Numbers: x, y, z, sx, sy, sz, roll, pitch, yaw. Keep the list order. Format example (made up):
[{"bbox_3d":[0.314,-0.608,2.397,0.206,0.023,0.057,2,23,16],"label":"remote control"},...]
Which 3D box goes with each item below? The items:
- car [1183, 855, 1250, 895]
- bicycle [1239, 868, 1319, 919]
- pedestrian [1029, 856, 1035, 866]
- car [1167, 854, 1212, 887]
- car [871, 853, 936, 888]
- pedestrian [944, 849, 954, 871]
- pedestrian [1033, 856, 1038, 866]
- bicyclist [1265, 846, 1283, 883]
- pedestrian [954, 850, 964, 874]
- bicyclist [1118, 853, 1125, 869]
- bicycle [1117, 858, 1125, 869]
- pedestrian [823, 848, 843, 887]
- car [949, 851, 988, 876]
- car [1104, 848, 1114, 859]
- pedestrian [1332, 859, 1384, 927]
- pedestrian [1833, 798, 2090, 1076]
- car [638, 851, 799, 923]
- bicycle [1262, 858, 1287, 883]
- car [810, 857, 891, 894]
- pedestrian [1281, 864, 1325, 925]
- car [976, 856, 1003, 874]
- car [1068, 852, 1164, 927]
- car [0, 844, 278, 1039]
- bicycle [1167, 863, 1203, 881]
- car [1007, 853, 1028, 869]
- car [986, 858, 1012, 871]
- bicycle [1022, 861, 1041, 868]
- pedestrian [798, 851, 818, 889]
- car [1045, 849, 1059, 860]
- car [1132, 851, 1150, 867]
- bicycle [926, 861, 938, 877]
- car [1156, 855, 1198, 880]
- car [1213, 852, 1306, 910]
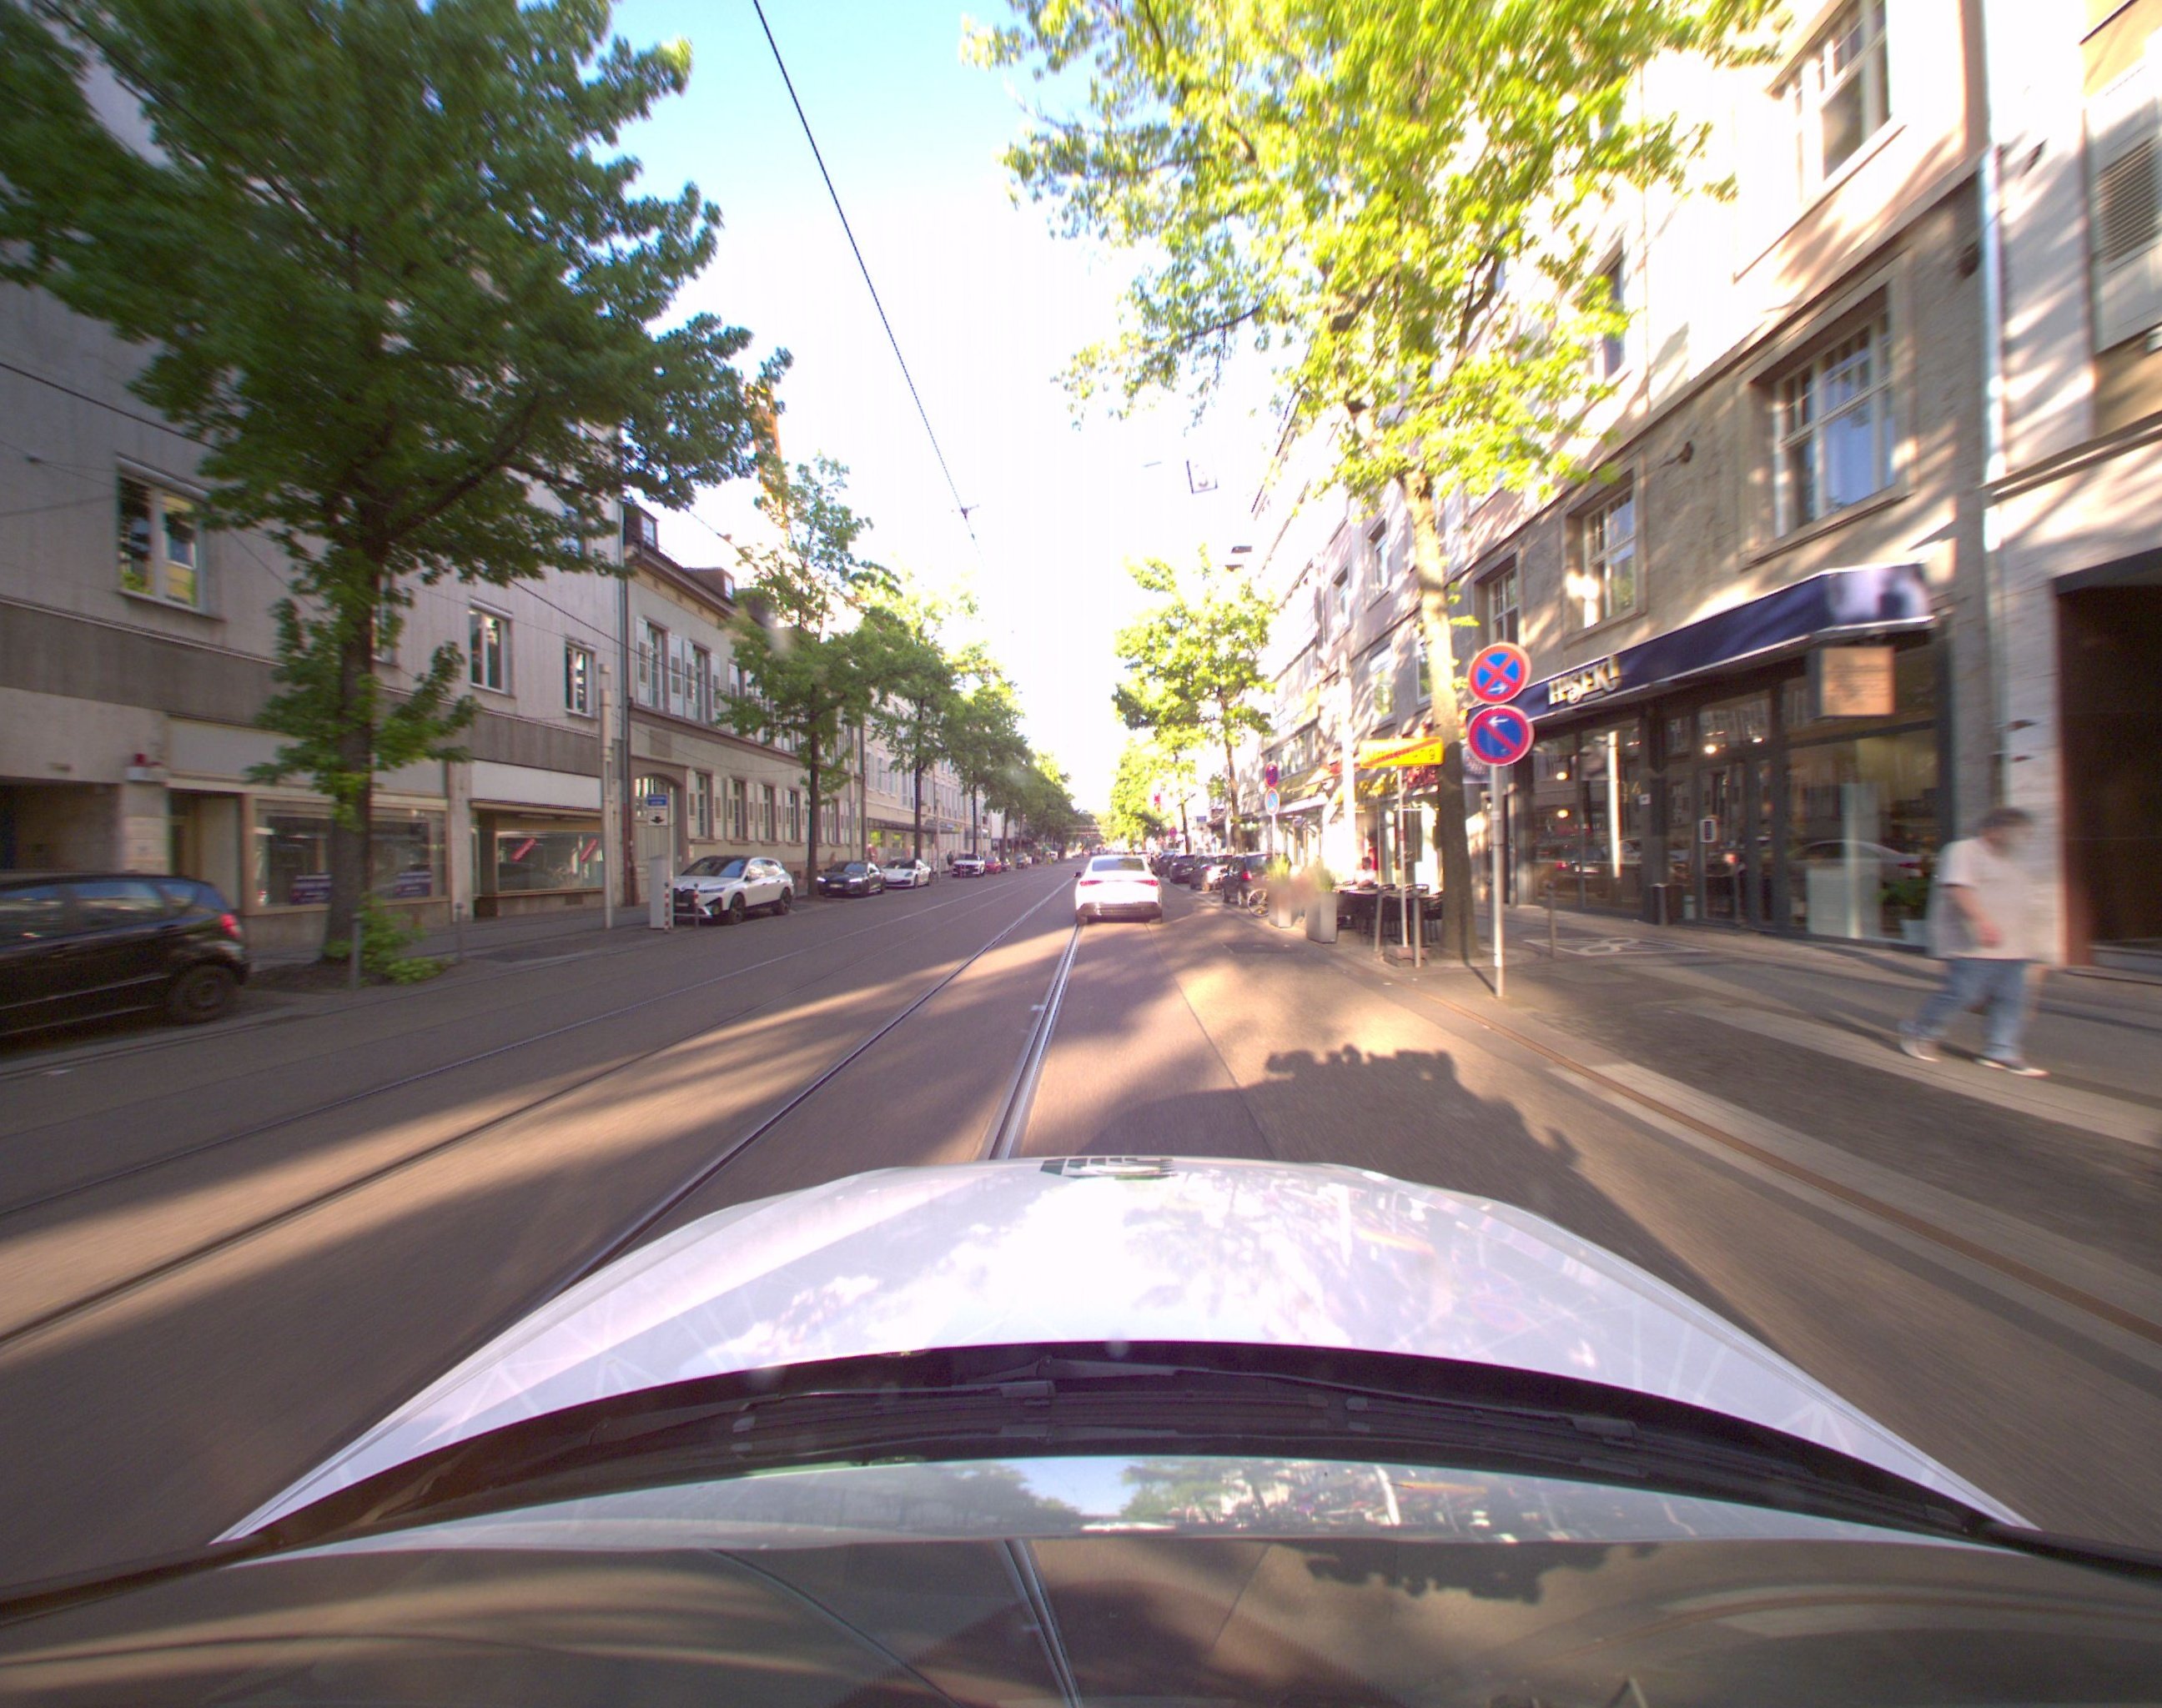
[{"bbox_3d":[5.318,0.805,32.421,1.810,1.486,3.995,0,0,-4],"label":"car"},{"bbox_3d":[4.652,0.930,19.151,1.711,1.139,0.549,-3,-1,22],"label":"bicycle"},{"bbox_3d":[-7.290,1.108,120.875,0.564,1.464,0.653,-1,0,21],"label":"pedestrian"},{"bbox_3d":[5.299,0.779,40.188,1.863,1.453,4.110,-3,0,3],"label":"car"},{"bbox_3d":[-8.885,0.792,41.136,1.938,1.640,4.913,0,0,3],"label":"car"},{"bbox_3d":[-11.006,0.487,68.005,0.706,1.806,0.674,-1,0,-4],"label":"pedestrian"},{"bbox_3d":[-6.810,1.110,122.225,0.519,1.478,0.644,-3,-1,-26],"label":"pedestrian"},{"bbox_3d":[8.870,0.482,37.438,0.637,1.684,0.599,-1,0,0],"label":"bicyclist"},{"bbox_3d":[-10.180,0.672,67.996,0.706,2.004,0.674,-1,0,-5],"label":"pedestrian"},{"bbox_3d":[4.173,0.726,84.637,0.722,1.703,0.811,-1,-1,2],"label":"bicyclist"},{"bbox_3d":[4.168,0.991,84.704,0.737,1.188,2.161,-1,-1,3],"label":"bicycle"},{"bbox_3d":[-11.217,0.615,36.823,0.683,1.721,0.656,0,-1,2],"label":"pedestrian"},{"bbox_3d":[-8.125,0.690,59.331,1.954,1.692,5.016,0,0,3],"label":"car"},{"bbox_3d":[6.977,-0.074,202.785,1.989,2.541,3.995,0,-1,-3],"label":"car"},{"bbox_3d":[5.885,0.808,17.310,0.713,1.387,0.739,0,0,-36],"label":"pedestrian"},{"bbox_3d":[5.632,0.498,5.267,0.800,1.643,0.756,-2,0,1],"label":"pedestrian"},{"bbox_3d":[-9.494,0.807,21.859,1.954,1.640,4.814,2,0,2],"label":"car"},{"bbox_3d":[8.874,0.738,37.397,0.645,1.074,1.861,-1,0,0],"label":"bicycle"},{"bbox_3d":[-9.274,0.833,33.186,1.956,1.412,4.844,0,0,-1],"label":"car"},{"bbox_3d":[4.675,0.846,17.209,0.813,1.265,0.587,-1,0,7],"label":"pedestrian"},{"bbox_3d":[-7.765,0.936,69.478,1.682,1.499,4.237,0,0,3],"label":"car"},{"bbox_3d":[0.677,0.765,18.351,1.863,1.469,4.039,1,-2,-2],"label":"car"},{"bbox_3d":[-10.255,0.745,7.298,1.954,1.640,4.003,2,0,3],"label":"car"},{"bbox_3d":[5.594,0.965,43.864,1.886,0.964,0.332,-1,0,6],"label":"bicycle"},{"bbox_3d":[-7.110,0.783,91.136,1.543,1.796,3.176,-1,0,10],"label":"car"},{"bbox_3d":[-7.863,0.994,78.350,1.986,1.292,4.001,0,0,1],"label":"car"},{"bbox_3d":[-6.079,1.300,100.634,2.233,0.830,0.721,-1,0,23],"label":"bicycle"},{"bbox_3d":[-12.449,0.715,37.113,0.672,1.680,0.648,-1,0,1],"label":"pedestrian"},{"bbox_3d":[-5.459,0.165,153.988,1.981,2.013,4.011,-1,0,10],"label":"car"},{"bbox_3d":[6.950,0.564,94.767,1.986,1.728,4.242,-1,0,2],"label":"car"},{"bbox_3d":[-9.683,0.960,52.840,0.592,1.050,2.005,-1,0,-5],"label":"bicycle"},{"bbox_3d":[5.886,0.808,50.472,1.834,1.436,3.993,-1,0,-5],"label":"car"},{"bbox_3d":[5.000,0.725,23.281,1.795,1.458,3.653,-2,0,-1],"label":"car"}]
